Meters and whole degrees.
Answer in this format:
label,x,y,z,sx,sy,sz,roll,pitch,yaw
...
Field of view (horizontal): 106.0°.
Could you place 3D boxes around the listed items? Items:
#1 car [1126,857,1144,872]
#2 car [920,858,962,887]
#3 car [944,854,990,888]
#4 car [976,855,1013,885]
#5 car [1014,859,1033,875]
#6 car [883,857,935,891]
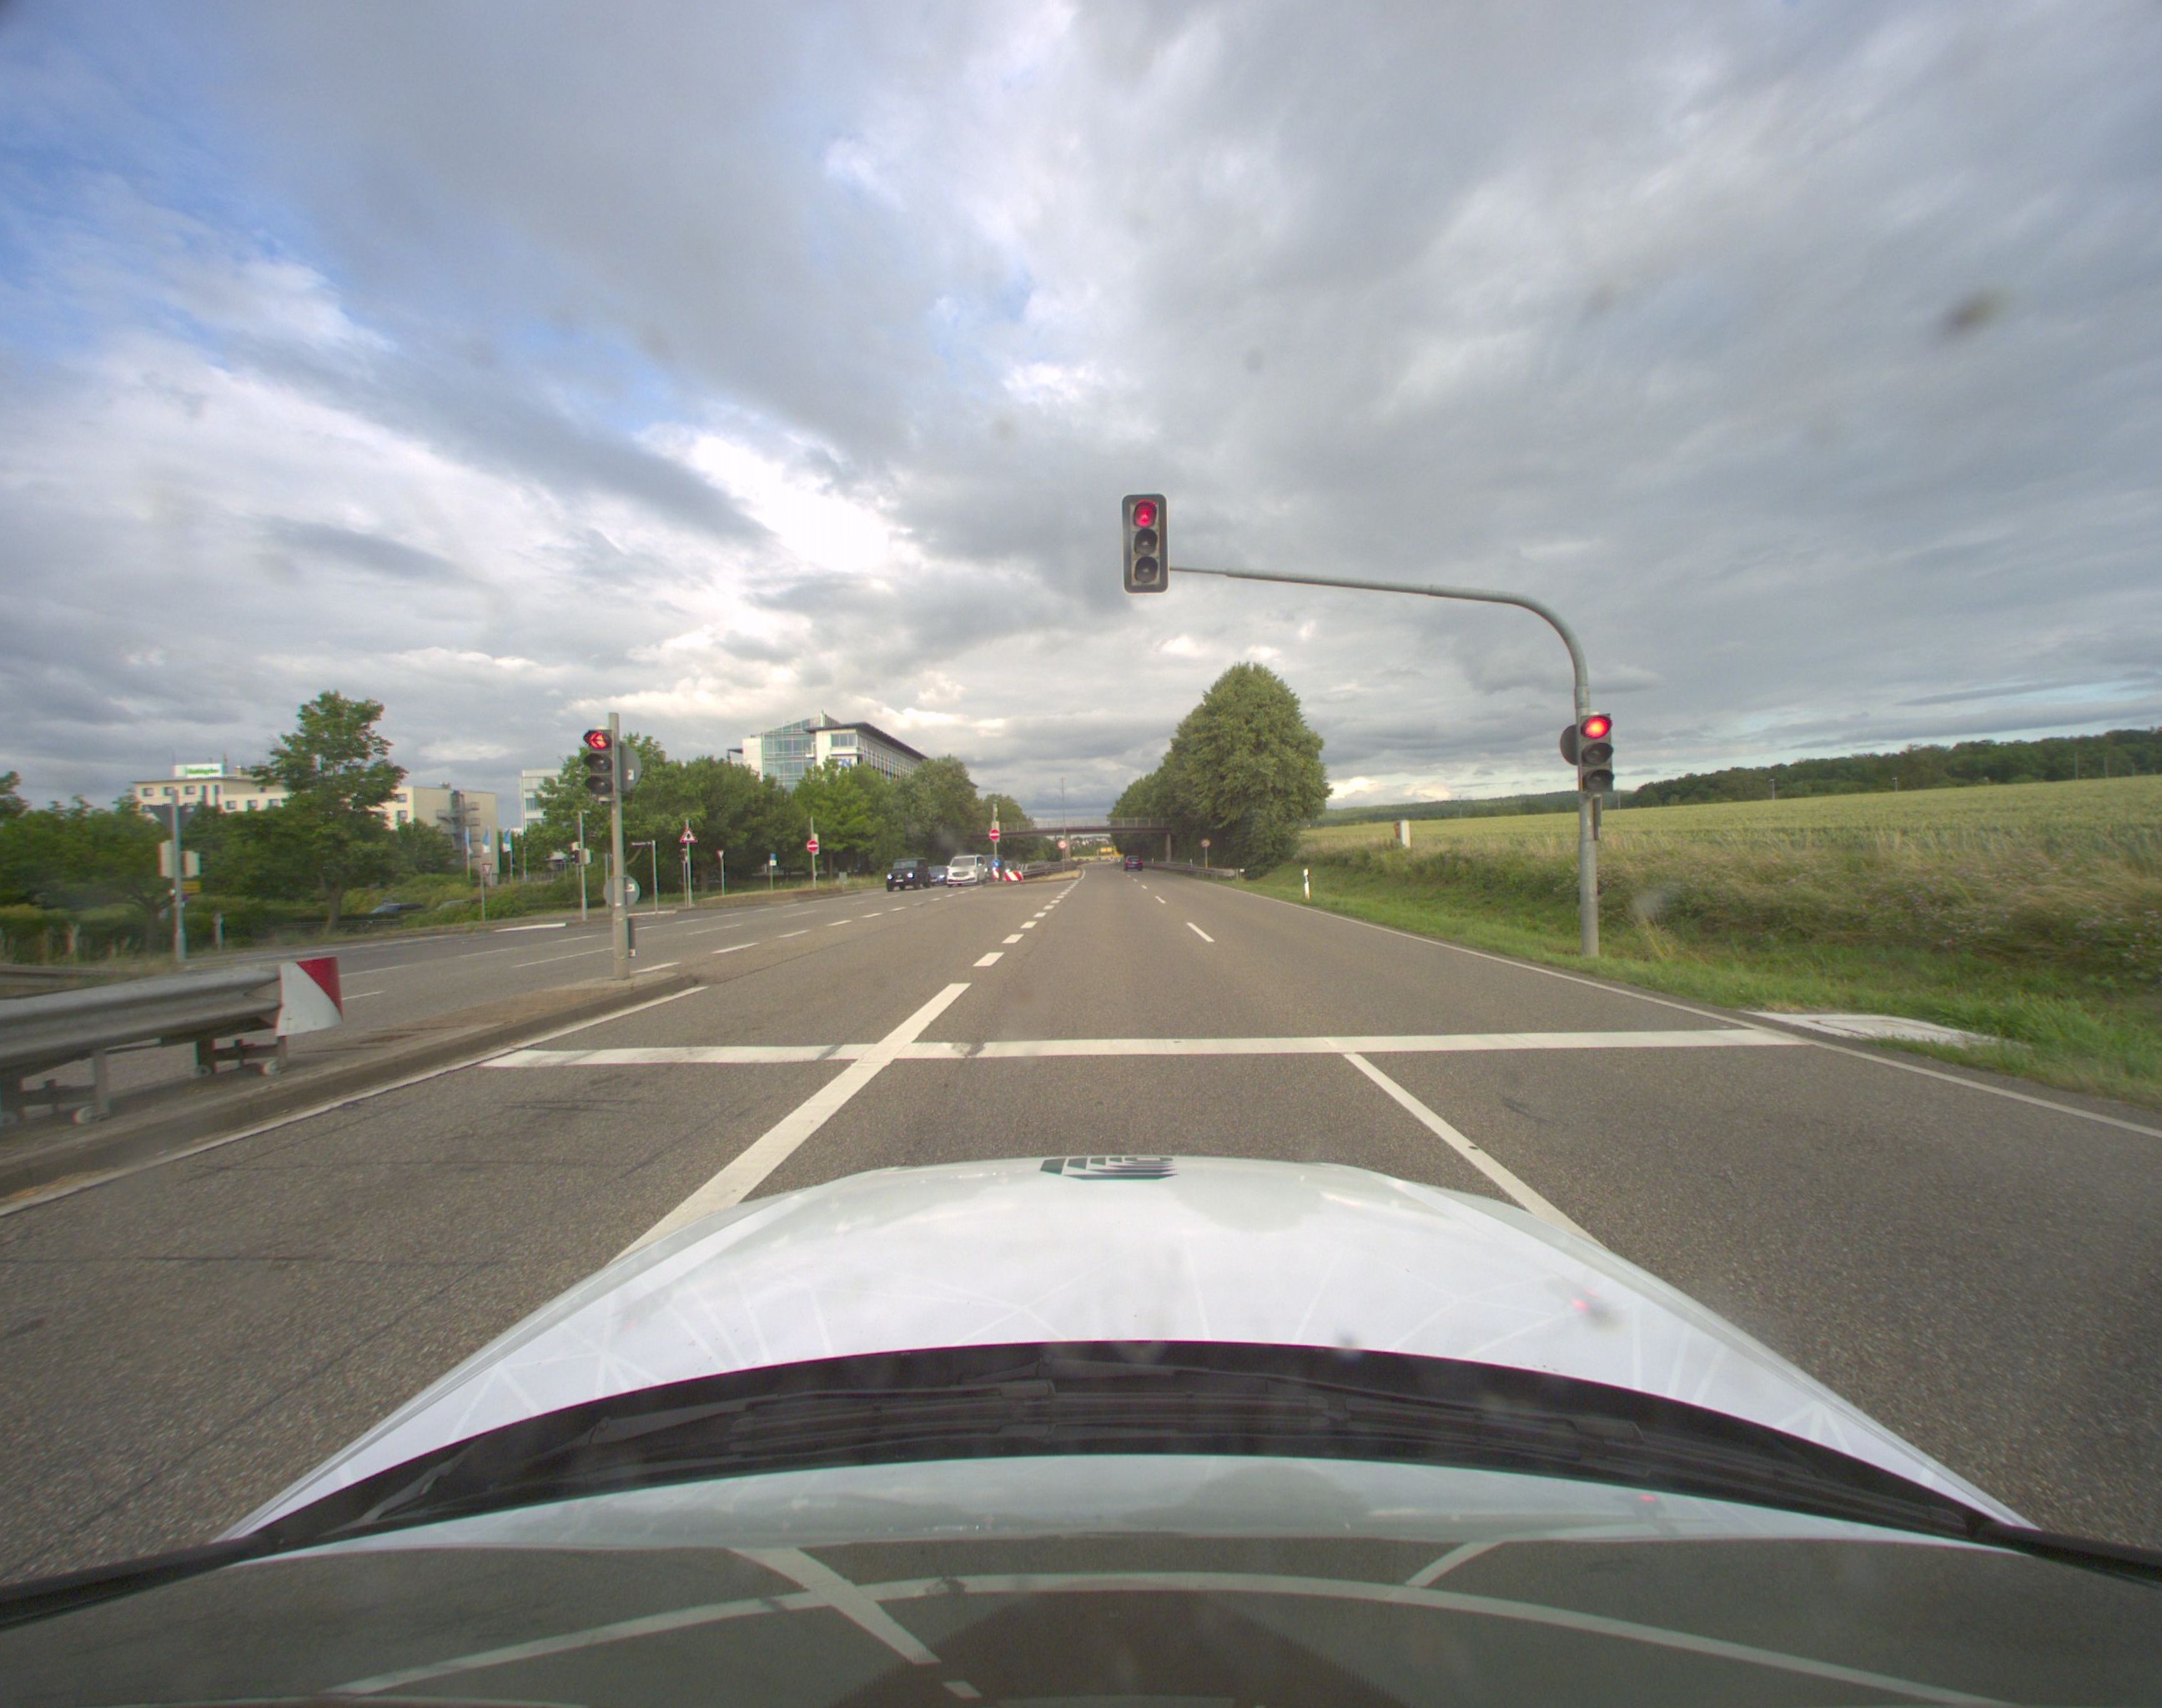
label,x,y,z,sx,sy,sz,roll,pitch,yaw
car,5.666,1.092,85.852,1.872,1.552,4.003,0,-1,3
car,-10.037,1.310,58.712,2.076,2.014,5.216,0,-1,0
car,-7.106,1.015,51.253,2.076,2.014,5.216,0,-1,0
car,-6.197,1.128,58.972,2.076,2.014,5.216,0,-1,0
car,-7.466,1.694,106.948,2.076,2.014,5.216,0,-1,0
car,-10.727,1.240,51.223,2.076,2.014,5.216,0,-1,0
